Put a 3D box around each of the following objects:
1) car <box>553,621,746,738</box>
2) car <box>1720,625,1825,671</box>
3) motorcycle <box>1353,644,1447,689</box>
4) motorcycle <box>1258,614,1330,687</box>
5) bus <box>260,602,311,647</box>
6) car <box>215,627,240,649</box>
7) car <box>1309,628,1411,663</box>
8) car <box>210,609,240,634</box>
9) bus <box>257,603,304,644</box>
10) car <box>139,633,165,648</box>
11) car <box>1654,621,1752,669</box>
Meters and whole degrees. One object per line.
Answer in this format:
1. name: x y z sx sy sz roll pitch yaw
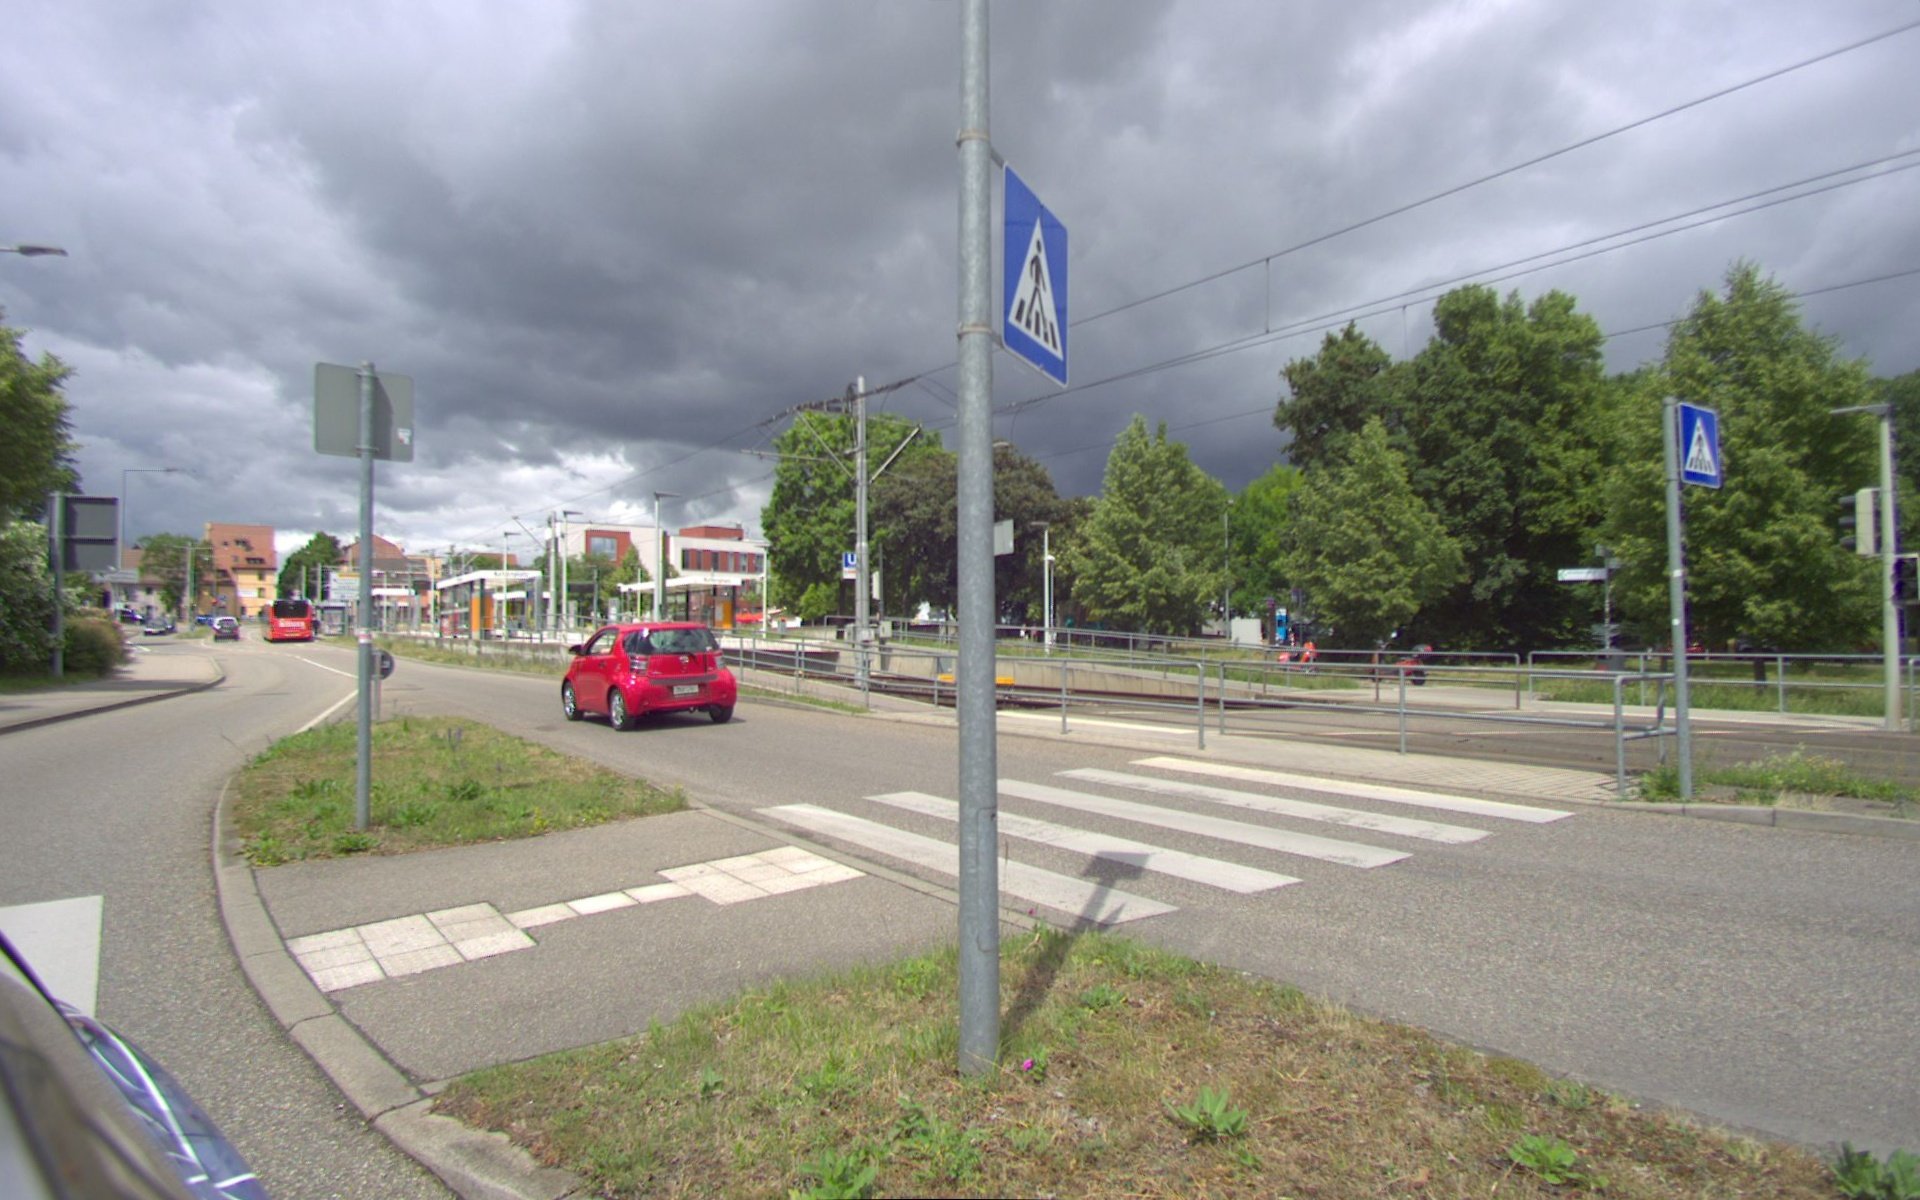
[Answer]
1. car: -4.598 1.093 14.818 1.698 1.514 2.972 2 -3 -39
2. car: 34.188 2.011 42.580 3.931 1.849 2.006 1 -3 -29
3. motorcycle: 11.383 1.706 26.264 0.719 1.089 2.222 2 -2 -30
4. motorcycle: 9.565 1.433 29.069 0.821 2.029 1.989 1 -2 -23
5. bus: -49.936 1.793 74.868 2.690 3.093 8.984 1 -1 -36
6. car: -57.038 2.925 78.851 1.509 1.563 3.742 0 -1 -35
7. car: 20.164 2.310 51.165 1.918 1.691 4.413 2 -4 -39
8. car: -61.538 1.831 84.719 1.739 1.675 4.514 3 -7 -39
9. bus: -55.421 1.921 82.392 2.690 3.133 9.726 1 -2 -36
10. car: -79.216 4.001 99.271 1.853 1.440 4.009 1 -3 -37
11. car: 32.576 1.977 44.355 3.931 2.029 1.933 1 -3 -29
